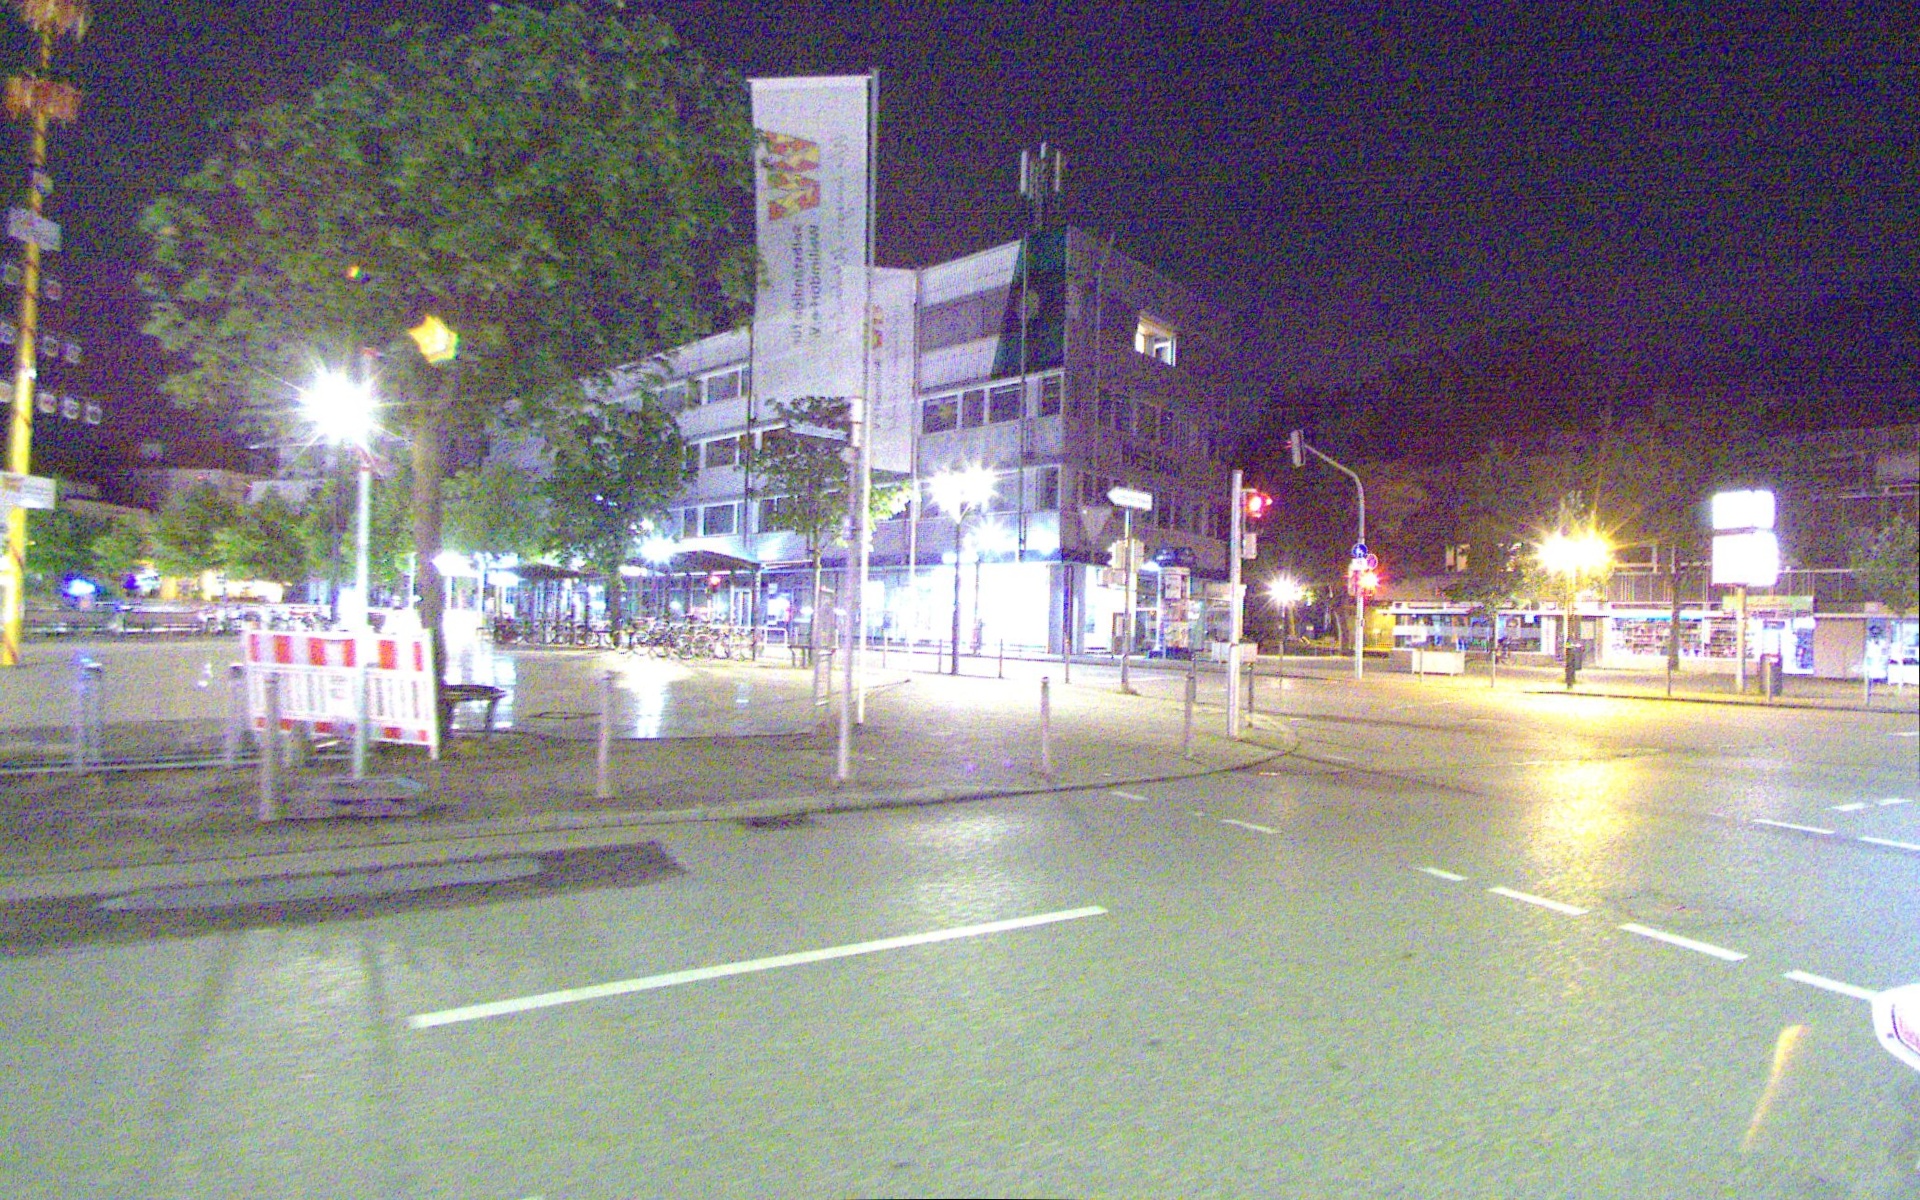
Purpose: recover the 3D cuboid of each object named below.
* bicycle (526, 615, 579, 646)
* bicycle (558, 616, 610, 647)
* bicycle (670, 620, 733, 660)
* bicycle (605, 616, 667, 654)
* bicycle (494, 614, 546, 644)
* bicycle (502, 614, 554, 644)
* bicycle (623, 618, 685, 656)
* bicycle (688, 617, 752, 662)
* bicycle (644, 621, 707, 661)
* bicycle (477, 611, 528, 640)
[{"bbox_3d":[-13.382,1.001,33.000,0.473,0.970,1.525,2,0,44],"label":"bicycle"},{"bbox_3d":[-12.305,1.040,32.933,0.473,0.970,1.525,2,0,44],"label":"bicycle"},{"bbox_3d":[-6.533,1.010,25.453,0.440,0.970,1.525,2,0,44],"label":"bicycle"},{"bbox_3d":[-8.791,0.952,27.277,0.473,0.970,1.525,2,0,44],"label":"bicycle"},{"bbox_3d":[-14.992,0.992,34.235,0.473,0.970,1.525,2,0,44],"label":"bicycle"},{"bbox_3d":[-14.444,0.982,33.593,0.473,0.970,1.525,2,0,44],"label":"bicycle"},{"bbox_3d":[-8.111,0.972,26.677,0.473,0.970,1.525,2,0,44],"label":"bicycle"},{"bbox_3d":[-5.912,0.968,24.778,0.440,1.068,1.525,2,0,44],"label":"bicycle"},{"bbox_3d":[-7.355,1.060,25.981,0.473,0.970,1.525,2,0,44],"label":"bicycle"},{"bbox_3d":[-15.811,0.887,34.738,0.473,0.970,1.525,2,0,44],"label":"bicycle"}]
